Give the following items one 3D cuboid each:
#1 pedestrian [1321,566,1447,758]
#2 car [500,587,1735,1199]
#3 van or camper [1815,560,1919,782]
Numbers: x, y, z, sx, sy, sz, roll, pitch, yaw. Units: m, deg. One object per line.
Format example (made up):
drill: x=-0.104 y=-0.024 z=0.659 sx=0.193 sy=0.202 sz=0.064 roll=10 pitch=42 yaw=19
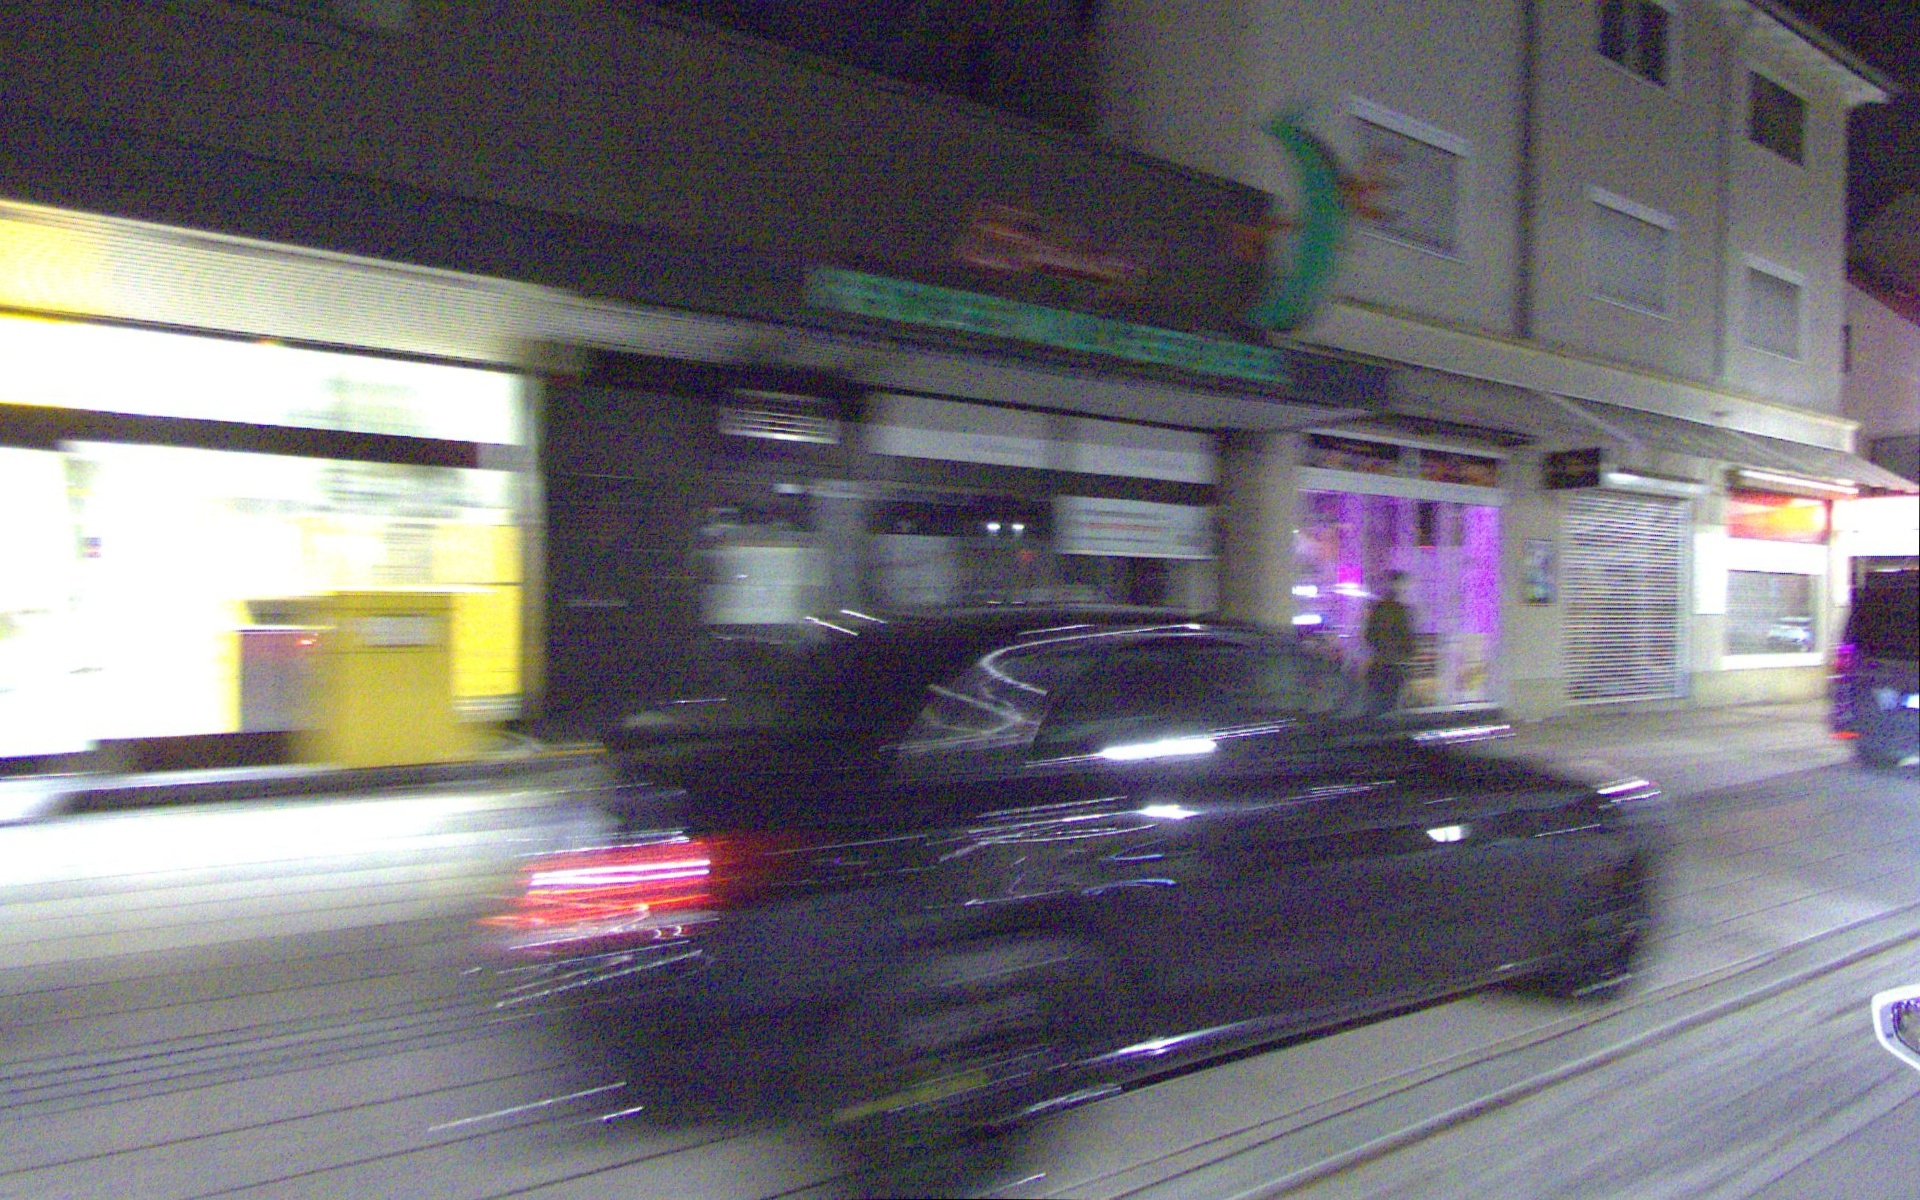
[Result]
pedestrian: x=4.123 y=0.581 z=9.768 sx=1.010 sy=1.768 sz=0.618 roll=1 pitch=0 yaw=-30
car: x=0.775 y=0.728 z=3.665 sx=4.333 sy=1.432 sz=1.708 roll=1 pitch=1 yaw=-30
van or camper: x=10.873 y=0.675 z=9.845 sx=5.083 sy=1.968 sz=1.840 roll=1 pitch=0 yaw=-25
